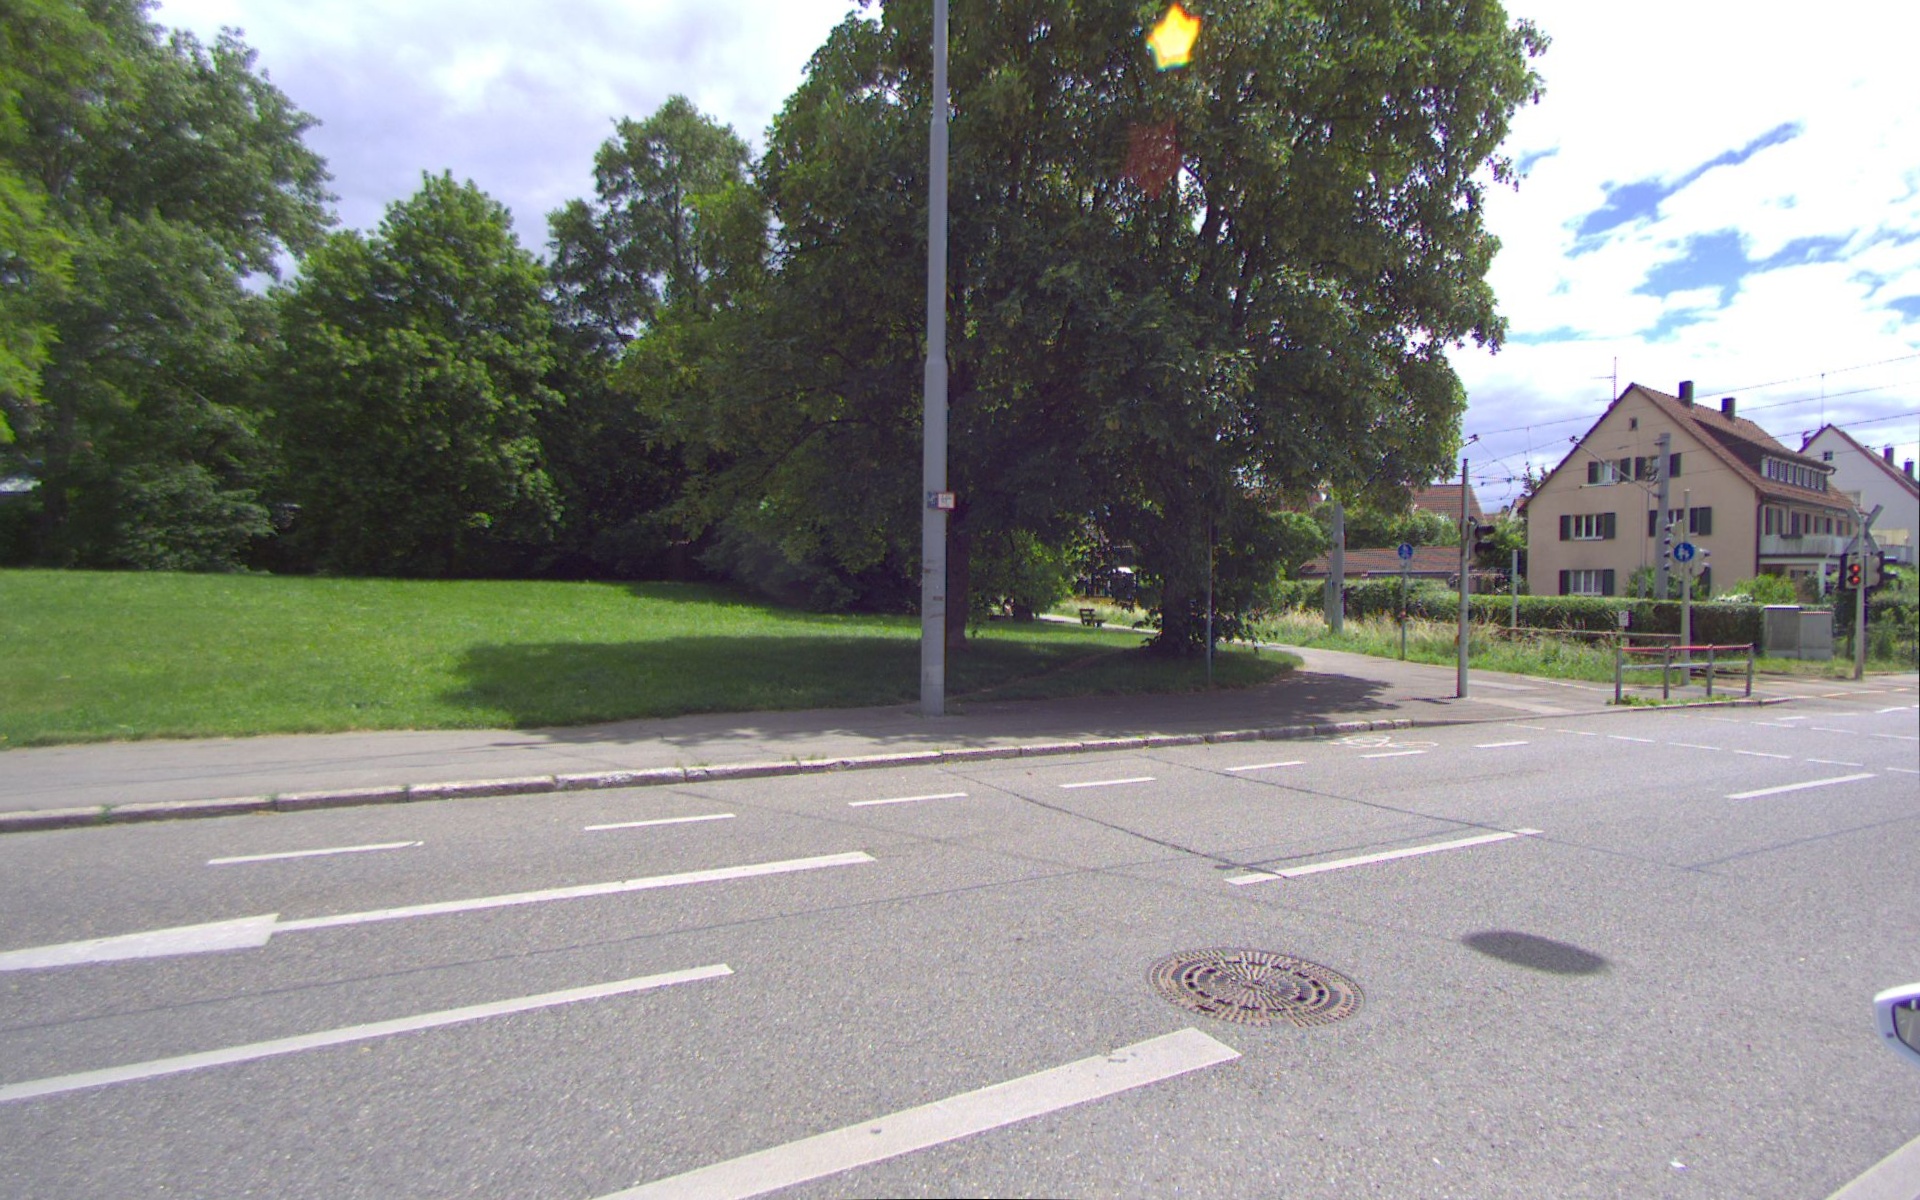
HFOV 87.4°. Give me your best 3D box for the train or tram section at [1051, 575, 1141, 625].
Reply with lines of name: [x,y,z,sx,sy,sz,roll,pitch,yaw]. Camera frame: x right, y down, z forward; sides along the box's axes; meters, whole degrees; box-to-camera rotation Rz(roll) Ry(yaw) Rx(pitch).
train or tram section: [11.032,-0.109,84.547,2.864,3.754,19.098,1,1,-6]
